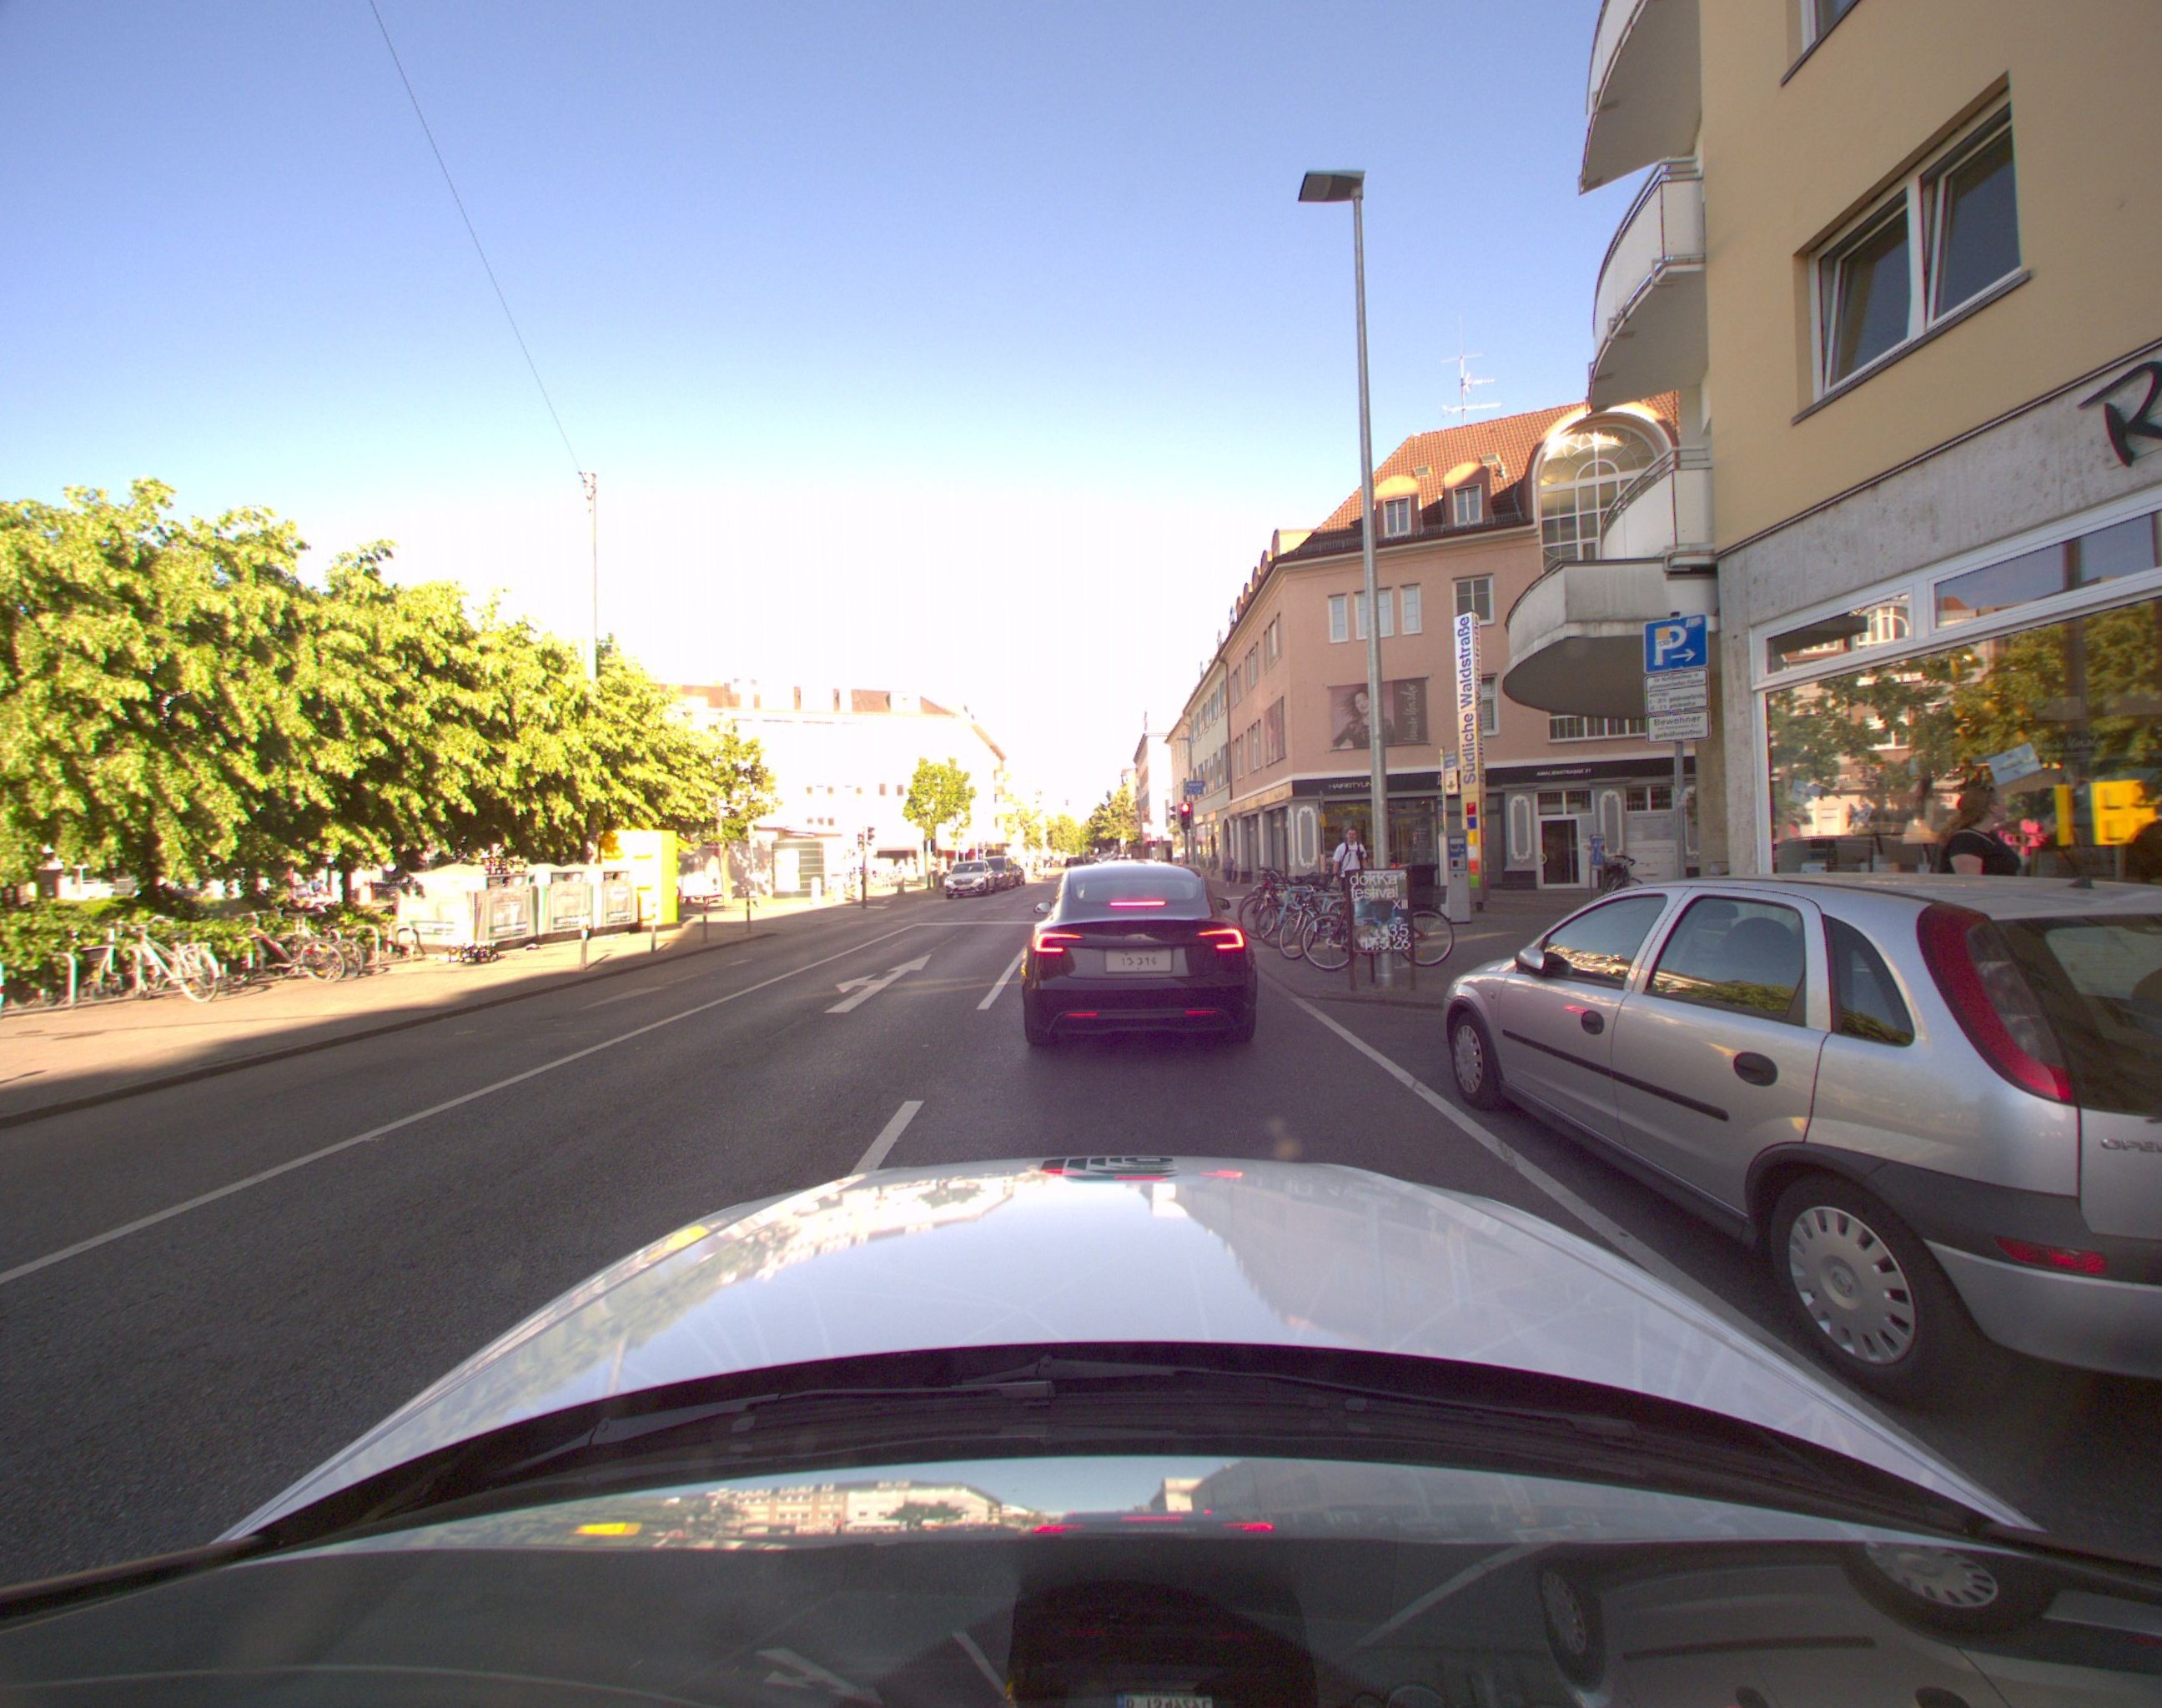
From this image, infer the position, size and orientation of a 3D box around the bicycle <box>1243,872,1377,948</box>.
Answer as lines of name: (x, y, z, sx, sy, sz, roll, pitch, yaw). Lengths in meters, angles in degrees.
bicycle: (3.491, 0.852, 12.501, 1.864, 1.038, 0.534, -3, -1, 5)

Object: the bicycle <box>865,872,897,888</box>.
bicycle: (-12.347, 1.610, 50.277, 1.857, 0.934, 0.606, 0, -1, 0)

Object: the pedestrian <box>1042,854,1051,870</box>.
pedestrian: (-3.844, 0.853, 91.345, 0.676, 1.789, 0.705, 0, -1, -34)

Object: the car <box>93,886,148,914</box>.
car: (-53.185, 2.514, 45.078, 3.526, 1.386, 1.703, -1, 0, 36)

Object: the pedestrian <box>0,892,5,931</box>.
pedestrian: (-57.066, 3.004, 42.544, 0.891, 2.014, 0.882, -1, -1, 27)

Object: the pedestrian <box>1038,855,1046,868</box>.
pedestrian: (-4.288, 0.850, 90.556, 0.676, 1.394, 0.584, 0, -1, -34)

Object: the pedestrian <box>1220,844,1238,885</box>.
pedestrian: (6.346, 0.450, 35.041, 0.702, 1.742, 0.541, -1, 0, 7)

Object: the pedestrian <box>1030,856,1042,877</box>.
pedestrian: (-3.638, 0.987, 65.689, 0.756, 1.631, 0.951, 0, -1, -16)

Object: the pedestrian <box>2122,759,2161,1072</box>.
pedestrian: (5.998, 0.323, 4.122, 0.639, 1.665, 0.663, -1, 0, 25)

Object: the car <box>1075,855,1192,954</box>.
car: (0.794, 0.749, 13.955, 1.712, 1.425, 3.757, -1, 0, 0)

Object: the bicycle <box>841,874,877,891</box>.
bicycle: (-12.428, 1.591, 45.603, 1.857, 0.934, 0.606, -1, 0, 0)

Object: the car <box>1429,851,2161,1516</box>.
car: (2.949, 0.722, 3.506, 1.540, 1.390, 3.479, -1, 1, 3)

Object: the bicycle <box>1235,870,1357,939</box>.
bicycle: (3.579, 0.841, 13.670, 1.863, 1.038, 0.548, -3, -1, 7)

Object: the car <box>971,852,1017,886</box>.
car: (-4.516, 0.768, 42.731, 1.780, 1.646, 4.404, -1, 0, 2)

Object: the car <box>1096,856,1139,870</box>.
car: (3.804, 0.959, 85.138, 3.999, 1.354, 1.897, -1, 0, -19)

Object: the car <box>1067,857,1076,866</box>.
car: (-1.838, 1.459, 162.917, 1.746, 1.688, 3.831, 0, -1, 0)

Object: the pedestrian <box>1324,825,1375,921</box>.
pedestrian: (5.064, 0.359, 15.402, 0.747, 1.765, 0.838, 0, -1, 6)

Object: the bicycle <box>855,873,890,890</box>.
bicycle: (-12.223, 1.619, 47.799, 1.857, 0.934, 0.606, 0, -1, 0)

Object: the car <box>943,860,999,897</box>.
car: (-4.862, 1.048, 36.416, 1.782, 1.460, 3.759, -4, -1, 2)

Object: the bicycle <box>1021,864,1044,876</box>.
bicycle: (-4.004, 1.316, 67.106, 1.787, 1.007, 0.469, 0, -1, -15)

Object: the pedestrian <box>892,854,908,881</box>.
pedestrian: (-13.454, 1.020, 60.613, 1.060, 2.014, 1.049, 0, -1, -18)

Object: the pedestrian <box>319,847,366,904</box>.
pedestrian: (-26.587, 0.755, 29.315, 0.890, 2.013, 0.893, -1, 0, 15)

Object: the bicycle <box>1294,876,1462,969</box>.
bicycle: (3.622, 0.838, 10.018, 1.862, 1.038, 0.354, -3, -1, 8)

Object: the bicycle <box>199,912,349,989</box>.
bicycle: (-11.496, 1.355, 11.602, 1.913, 1.003, 0.518, -1, -1, 11)

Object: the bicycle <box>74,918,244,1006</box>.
bicycle: (-11.624, 1.341, 10.277, 1.919, 1.015, 0.518, -1, -1, 12)

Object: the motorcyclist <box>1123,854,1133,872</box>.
motorcyclist: (4.133, 0.779, 72.046, 0.722, 1.528, 0.512, -1, -1, -21)

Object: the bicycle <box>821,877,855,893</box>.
bicycle: (-12.840, 1.635, 43.079, 1.640, 0.792, 0.606, 0, -1, -3)

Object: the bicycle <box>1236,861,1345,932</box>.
bicycle: (3.776, 0.761, 14.787, 1.818, 1.169, 0.507, -3, -1, 7)

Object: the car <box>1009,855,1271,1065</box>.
car: (0.477, 0.762, 7.737, 1.815, 1.442, 4.001, -1, -1, 2)

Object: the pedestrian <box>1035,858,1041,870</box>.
pedestrian: (-4.824, 1.115, 91.628, 0.524, 1.422, 0.475, 0, -1, -28)

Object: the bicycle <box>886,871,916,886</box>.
bicycle: (-12.186, 1.649, 55.137, 1.857, 0.934, 0.606, -1, 0, 0)

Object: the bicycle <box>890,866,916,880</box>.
bicycle: (-17.144, 1.822, 78.372, 2.373, 1.296, 0.509, 0, -1, -25)

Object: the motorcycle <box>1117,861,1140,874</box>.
motorcycle: (4.190, 1.175, 72.059, 1.934, 1.110, 0.515, -1, 0, -21)

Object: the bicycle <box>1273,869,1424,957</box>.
bicycle: (3.650, 0.807, 11.199, 1.864, 1.087, 0.415, -3, -1, 5)

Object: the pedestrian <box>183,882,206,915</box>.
pedestrian: (-48.845, 2.440, 44.880, 0.842, 1.717, 0.761, -2, -1, 35)

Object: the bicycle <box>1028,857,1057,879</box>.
bicycle: (-3.004, 1.067, 63.384, 2.104, 1.665, 0.666, 0, -1, -14)

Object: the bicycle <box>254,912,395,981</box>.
bicycle: (-11.322, 1.373, 12.200, 1.888, 0.955, 0.518, -1, -1, 11)

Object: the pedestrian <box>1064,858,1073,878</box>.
pedestrian: (-1.019, 1.115, 65.451, 0.623, 1.538, 0.511, 0, -1, -17)

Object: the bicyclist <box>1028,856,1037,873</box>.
bicyclist: (-4.023, 0.886, 67.103, 0.670, 1.395, 0.460, 0, -1, -14)

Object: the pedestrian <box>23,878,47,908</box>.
pedestrian: (-77.853, 2.891, 60.611, 0.891, 2.171, 0.882, -1, -1, 26)

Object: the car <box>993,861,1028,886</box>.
car: (-4.303, 1.172, 50.230, 1.709, 1.446, 3.846, 0, -1, 2)

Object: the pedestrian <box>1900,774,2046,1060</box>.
pedestrian: (6.037, 0.390, 5.550, 0.561, 1.784, 0.748, -1, -1, 41)

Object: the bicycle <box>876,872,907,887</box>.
bicycle: (-12.266, 1.630, 52.689, 1.857, 0.934, 0.606, -1, 0, 0)
